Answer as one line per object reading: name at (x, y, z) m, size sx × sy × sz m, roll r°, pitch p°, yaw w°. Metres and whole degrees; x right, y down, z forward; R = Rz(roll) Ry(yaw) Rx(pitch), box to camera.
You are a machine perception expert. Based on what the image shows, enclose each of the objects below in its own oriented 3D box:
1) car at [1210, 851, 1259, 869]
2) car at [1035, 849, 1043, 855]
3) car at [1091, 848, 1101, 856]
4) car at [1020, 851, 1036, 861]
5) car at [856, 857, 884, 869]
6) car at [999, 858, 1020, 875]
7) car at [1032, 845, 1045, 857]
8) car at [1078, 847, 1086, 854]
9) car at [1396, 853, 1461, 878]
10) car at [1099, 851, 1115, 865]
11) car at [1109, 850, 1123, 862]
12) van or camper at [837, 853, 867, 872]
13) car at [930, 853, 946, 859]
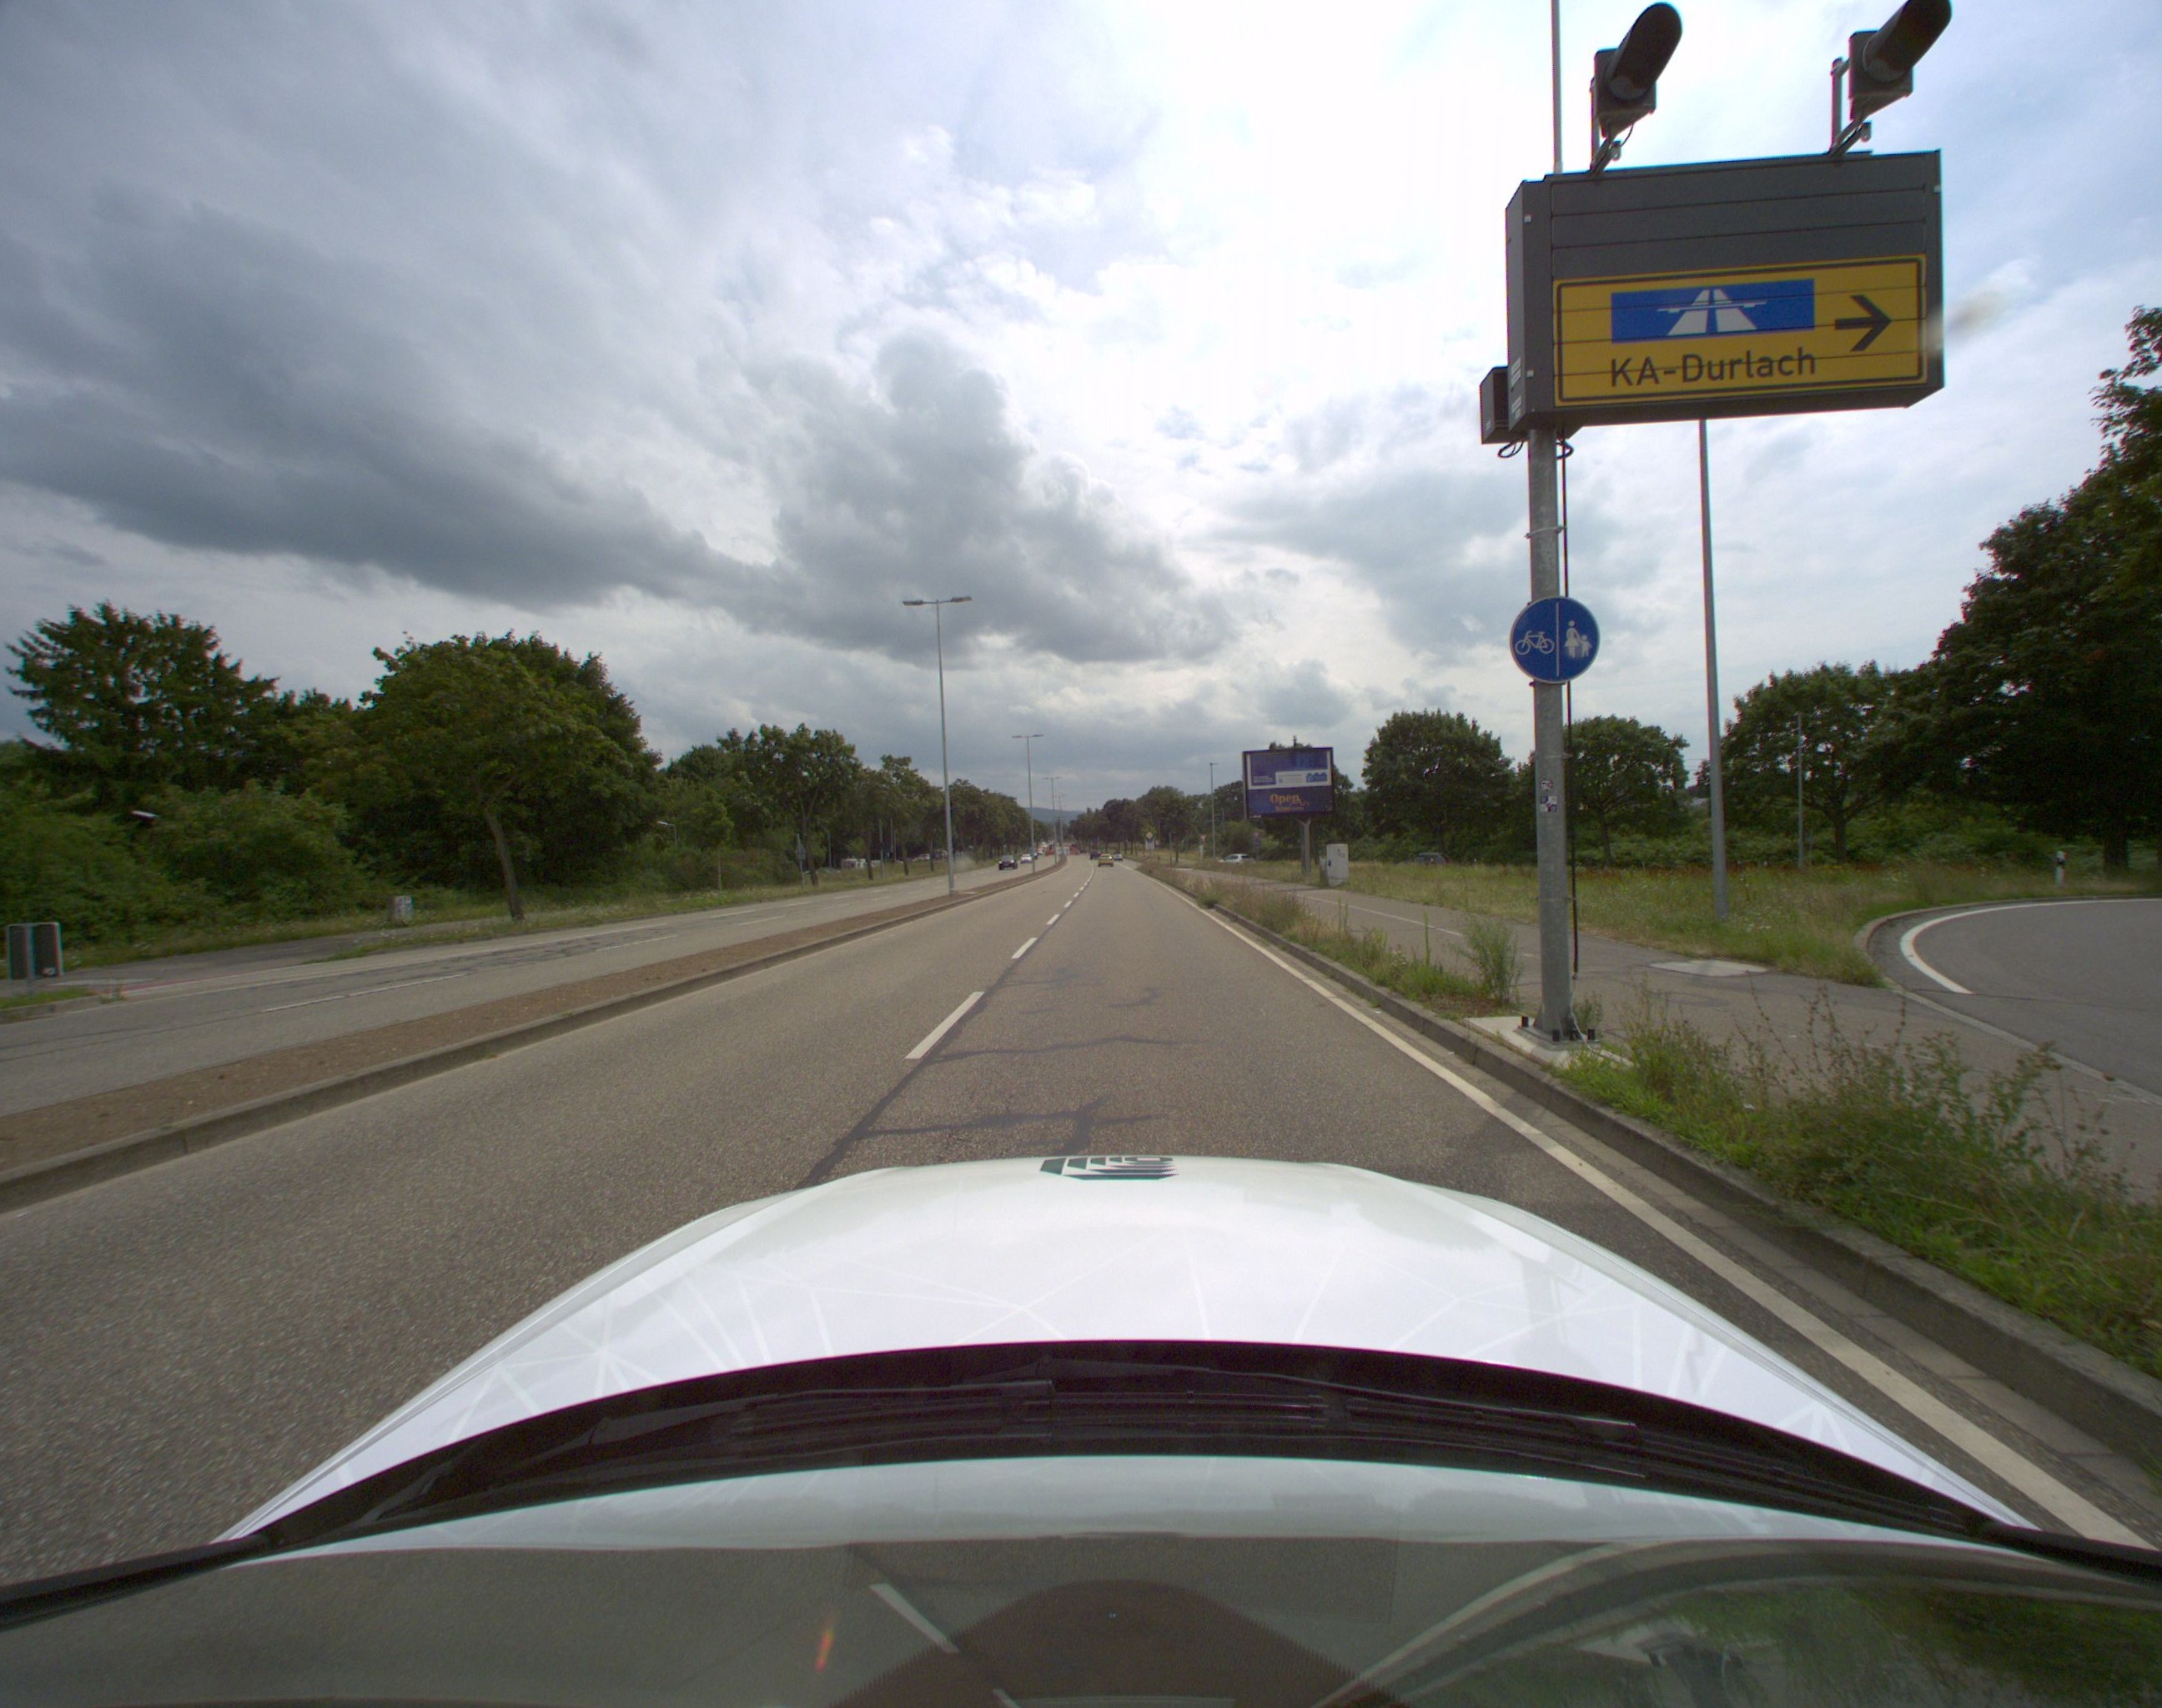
car at (13.612, 0.512, 72.264) m, size 3.949 × 1.464 × 1.783 m, roll -1°, pitch 1°, yaw 43°
car at (-11.088, -0.453, 214.252) m, size 1.711 × 1.420 × 4.160 m, roll -4°, pitch 1°, yaw 0°
car at (2.676, -0.335, 144.325) m, size 1.661 × 1.269 × 4.000 m, roll -2°, pitch 1°, yaw 0°
car at (-8.741, 0.264, 134.453) m, size 1.986 × 1.430 × 4.691 m, roll -3°, pitch 1°, yaw 2°
car at (-35.110, 1.487, 135.676) m, size 3.975 × 1.887 × 1.938 m, roll -2°, pitch 1°, yaw -1°
car at (-8.718, 1.529, 99.284) m, size 1.987 × 1.811 × 4.798 m, roll -3°, pitch 1°, yaw 0°
car at (-8.511, -0.640, 162.447) m, size 2.089 × 2.200 × 6.003 m, roll -3°, pitch 0°, yaw 0°
car at (0.279, -0.987, 218.885) m, size 2.198 × 1.683 × 4.002 m, roll -2°, pitch 1°, yaw 1°
car at (23.943, 0.796, 56.110) m, size 3.949 × 1.668 × 1.720 m, roll 0°, pitch 1°, yaw 30°
car at (3.081, 0.457, 96.351) m, size 1.787 × 1.562 × 4.000 m, roll -2°, pitch 1°, yaw 0°
car at (5.572, 0.325, 129.531) m, size 2.007 × 1.670 × 4.000 m, roll -2°, pitch 1°, yaw 0°
van or camper at (-34.116, 1.241, 121.584) m, size 2.464 × 2.540 × 6.720 m, roll -2°, pitch 1°, yaw 0°
car at (-37.390, 0.422, 213.638) m, size 3.759 × 1.425 × 1.967 m, roll -2°, pitch 1°, yaw 1°
